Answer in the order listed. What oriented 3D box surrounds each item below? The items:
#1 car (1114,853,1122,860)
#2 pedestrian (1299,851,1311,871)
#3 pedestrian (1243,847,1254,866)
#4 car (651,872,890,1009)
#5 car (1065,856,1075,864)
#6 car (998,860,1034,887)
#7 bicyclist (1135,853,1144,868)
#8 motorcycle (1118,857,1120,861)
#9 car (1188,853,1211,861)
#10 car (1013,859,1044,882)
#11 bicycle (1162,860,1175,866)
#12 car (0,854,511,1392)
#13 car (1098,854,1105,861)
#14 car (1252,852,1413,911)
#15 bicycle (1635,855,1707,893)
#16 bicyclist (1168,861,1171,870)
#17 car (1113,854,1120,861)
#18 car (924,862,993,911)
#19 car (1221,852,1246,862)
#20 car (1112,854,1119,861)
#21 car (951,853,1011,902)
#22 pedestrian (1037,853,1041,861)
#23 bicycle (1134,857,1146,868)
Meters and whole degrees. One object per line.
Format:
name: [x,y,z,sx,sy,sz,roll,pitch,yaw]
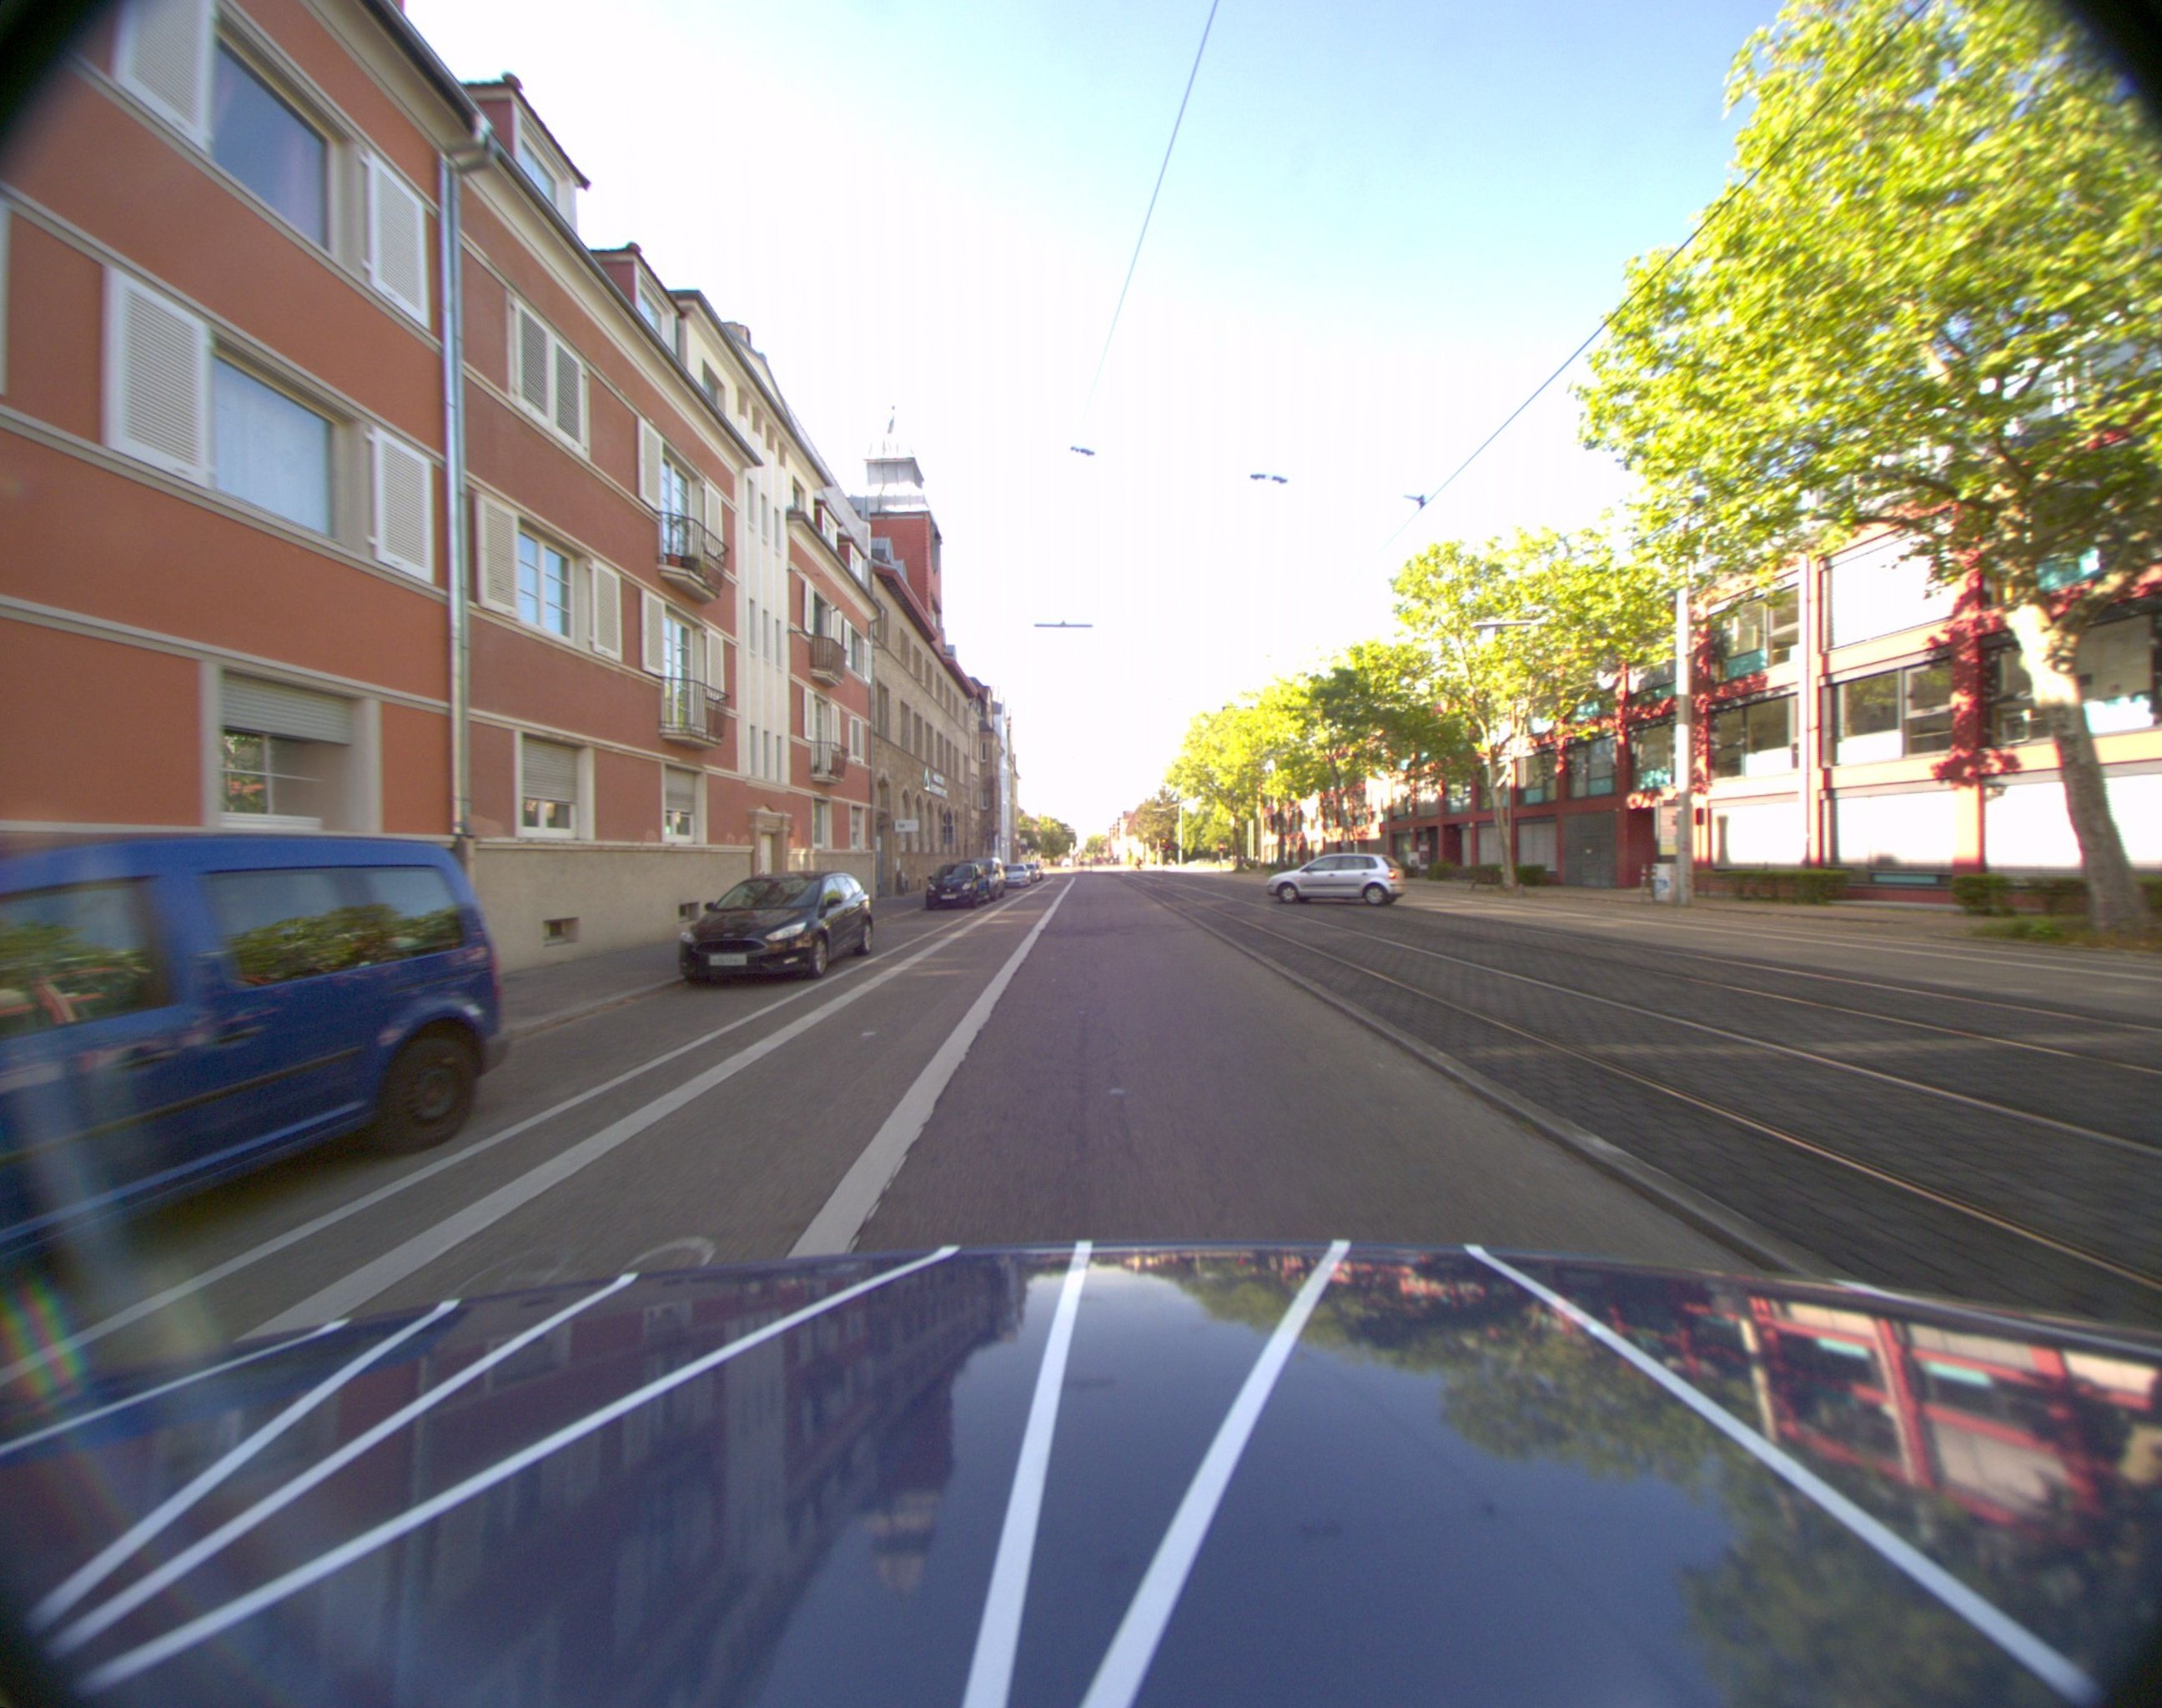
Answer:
car: [9.831,0.711,200.404,1.923,1.889,4.001,-3,0,3]
pedestrian: [18.991,0.600,64.459,0.627,1.708,0.900,-3,1,0]
pedestrian: [18.714,0.291,84.805,0.913,2.002,0.780,-3,0,-8]
car: [-4.381,1.107,11.655,1.758,1.502,4.762,-3,0,-2]
car: [-2.378,1.272,163.129,1.923,1.704,4.001,-3,0,3]
car: [-3.887,1.155,46.286,1.718,1.492,4.226,-3,0,1]
bicyclist: [6.857,0.722,88.829,0.605,1.682,0.934,-3,0,26]
motorcycle: [9.245,1.282,185.372,0.605,1.040,2.438,-3,0,3]
car: [21.567,0.619,138.725,3.995,1.425,1.817,-1,0,6]
car: [-3.867,1.192,56.477,1.757,1.492,4.196,-3,0,2]
bicycle: [16.149,1.704,139.675,2.284,1.111,0.930,-1,0,8]
car: [-4.510,0.935,2.711,1.707,1.800,4.271,-2,0,-1]
car: [6.466,1.106,237.743,2.024,2.001,5.253,1,-1,3]
car: [7.238,0.731,22.017,4.059,1.509,1.762,1,1,34]
bicycle: [21.690,0.732,27.945,2.066,1.265,0.619,-3,0,5]
bicyclist: [16.253,2.062,139.662,0.559,1.613,0.899,-1,0,8]
car: [10.277,1.030,221.888,1.924,1.704,4.000,-3,0,1]
car: [-4.194,1.082,26.612,1.635,1.502,3.717,-3,0,2]
car: [28.217,0.527,140.963,4.311,1.856,1.817,-1,0,3]
car: [9.836,1.007,215.939,1.924,1.704,4.001,-3,0,1]
car: [-4.036,0.901,31.492,1.757,1.844,4.815,-2,0,1]
pedestrian: [-8.142,0.571,148.835,0.655,1.664,0.943,1,0,3]
bicycle: [6.877,1.013,88.852,0.632,1.124,2.037,0,6,25]
